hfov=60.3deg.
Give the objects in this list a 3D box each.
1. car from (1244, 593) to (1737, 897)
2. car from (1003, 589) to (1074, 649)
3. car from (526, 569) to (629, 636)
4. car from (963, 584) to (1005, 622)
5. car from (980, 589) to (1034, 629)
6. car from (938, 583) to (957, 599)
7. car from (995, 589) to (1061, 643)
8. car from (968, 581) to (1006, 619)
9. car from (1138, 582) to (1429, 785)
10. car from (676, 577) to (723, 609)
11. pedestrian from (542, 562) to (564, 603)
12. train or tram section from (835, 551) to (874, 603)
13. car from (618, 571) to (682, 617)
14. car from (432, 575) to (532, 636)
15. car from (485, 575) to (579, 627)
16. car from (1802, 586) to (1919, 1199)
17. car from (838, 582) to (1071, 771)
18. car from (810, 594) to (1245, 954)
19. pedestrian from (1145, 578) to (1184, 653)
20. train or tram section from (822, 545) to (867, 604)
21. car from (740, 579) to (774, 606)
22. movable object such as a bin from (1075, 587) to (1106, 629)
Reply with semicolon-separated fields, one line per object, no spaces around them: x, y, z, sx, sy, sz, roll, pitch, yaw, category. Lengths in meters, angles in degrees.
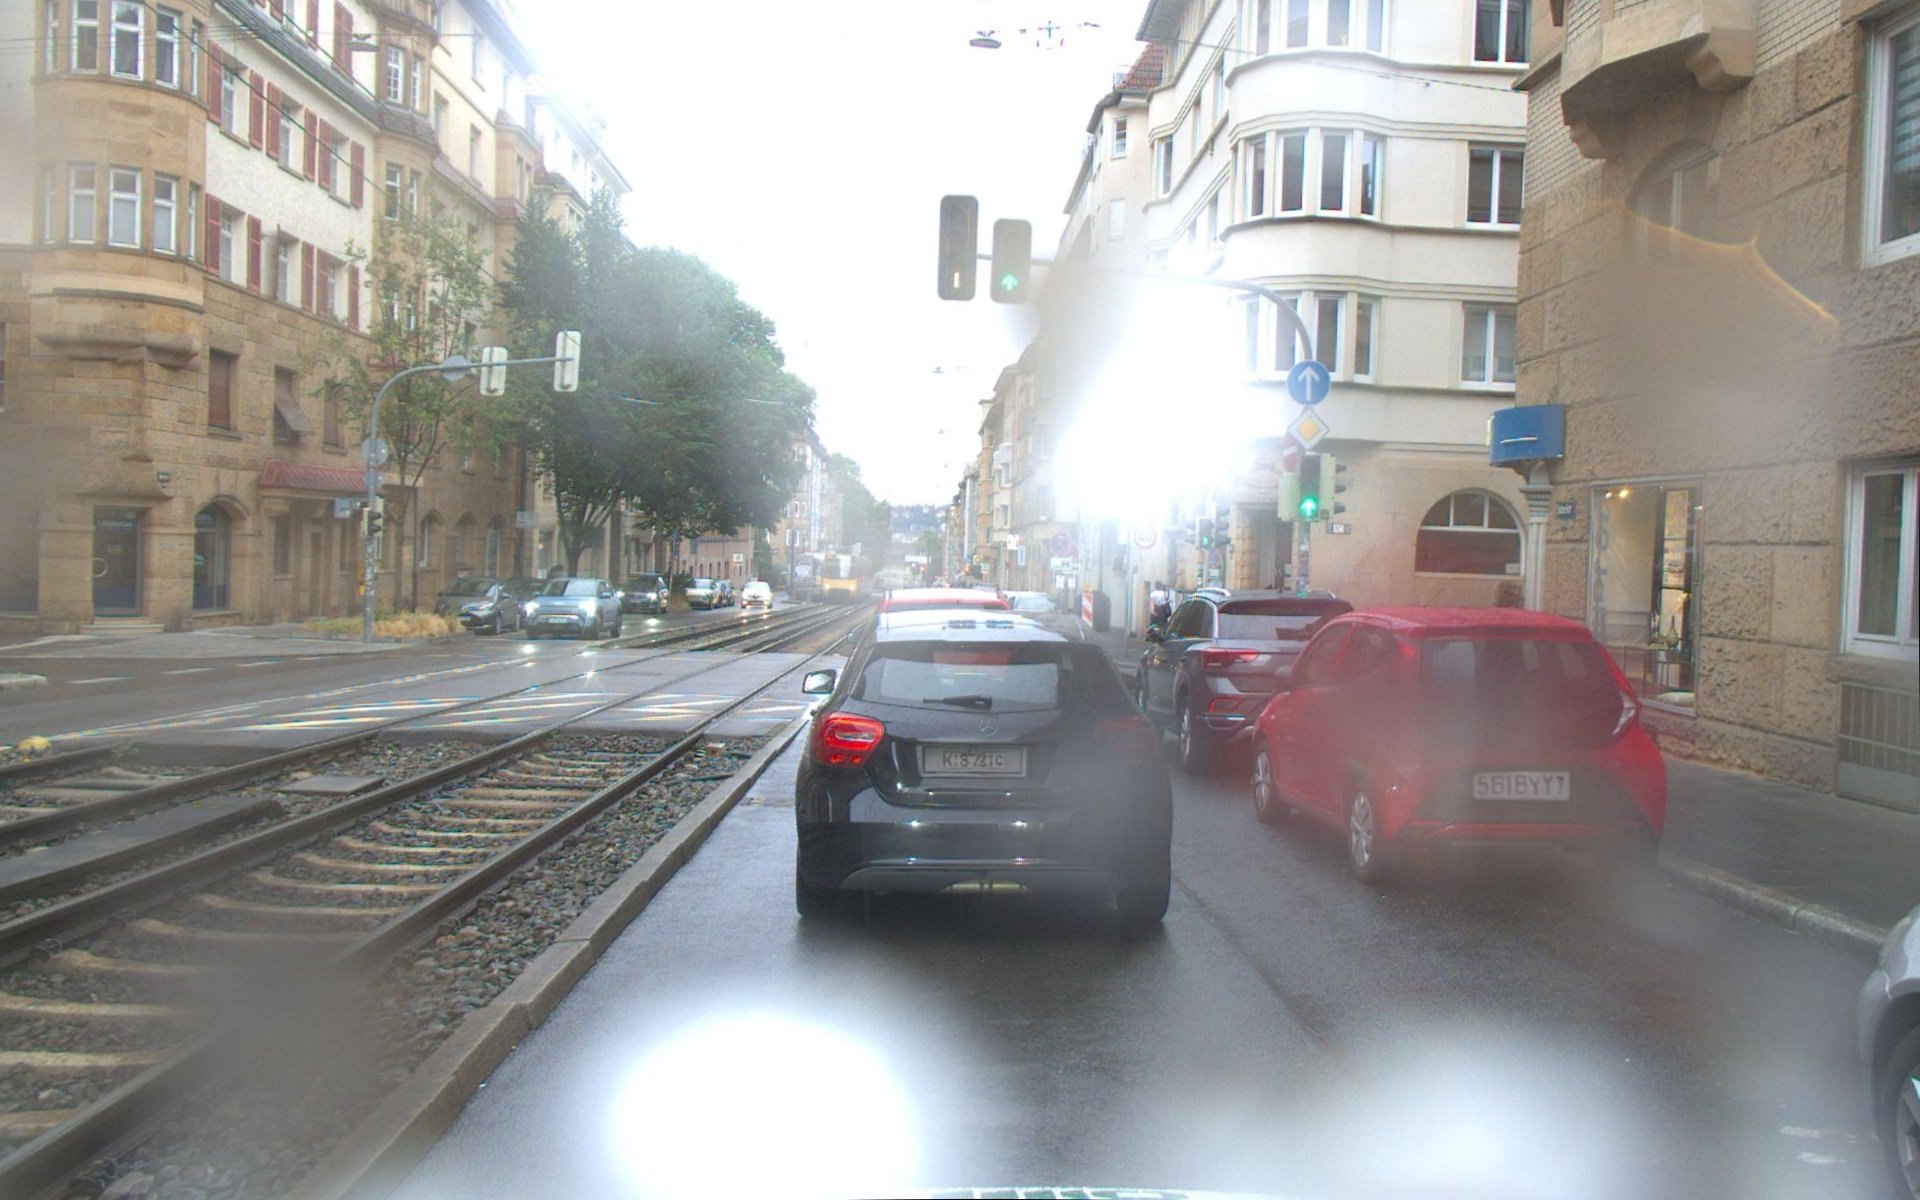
2.978;0.727;10.082;1.672;1.478;3.530;2;0;-3;car
1.995;0.482;43.179;1.675;1.435;4.817;1;0;1;car
-9.979;0.061;43.402;1.883;1.646;4.126;1;0;-3;car
1.072;0.136;74.032;1.803;1.636;4.761;1;0;1;car
1.706;0.328;61.497;1.753;1.410;4.393;1;0;-1;car
-1.262;-0.952;172.281;1.848;1.552;4.246;2;0;1;car
1.942;0.461;48.546;1.677;1.493;4.773;1;0;-1;car
1.287;0.004;80.246;1.742;1.780;4.548;1;0;0;car
2.828;0.670;15.352;1.830;1.576;3.990;2;0;-1;car
-13.934;-0.392;88.572;1.922;1.633;4.327;2;1;-2;car
-16.786;-0.725;68.234;0.713;1.692;0.770;2;0;-2;pedestrian
-8.944;-1.964;141.646;2.690;4.132;15.656;1;1;-2;train or tram section
-13.342;-0.285;71.387;1.914;1.772;4.777;4;1;-3;car
-12.956;0.142;45.024;1.656;1.556;4.173;1;0;-3;car
-13.020;0.045;50.579;1.745;1.485;4.976;1;0;-3;car
3.077;0.736;2.718;1.562;1.513;3.521;0;0;-1;car
-0.076;0.652;16.324;1.953;1.552;4.244;2;0;-1;car
0.256;0.723;8.876;1.797;1.478;3.901;1;0;-1;car
4.771;0.356;38.614;0.788;1.717;0.754;1;-1;-2;pedestrian
-8.649;-1.881;125.490;2.690;4.132;17.208;1;1;-2;train or tram section
-11.563;-0.413;94.288;1.746;1.529;4.058;1;0;-5;car
4.682;0.290;59.405;0.960;1.494;1.272;1;0;-2;movable object such as a bin
